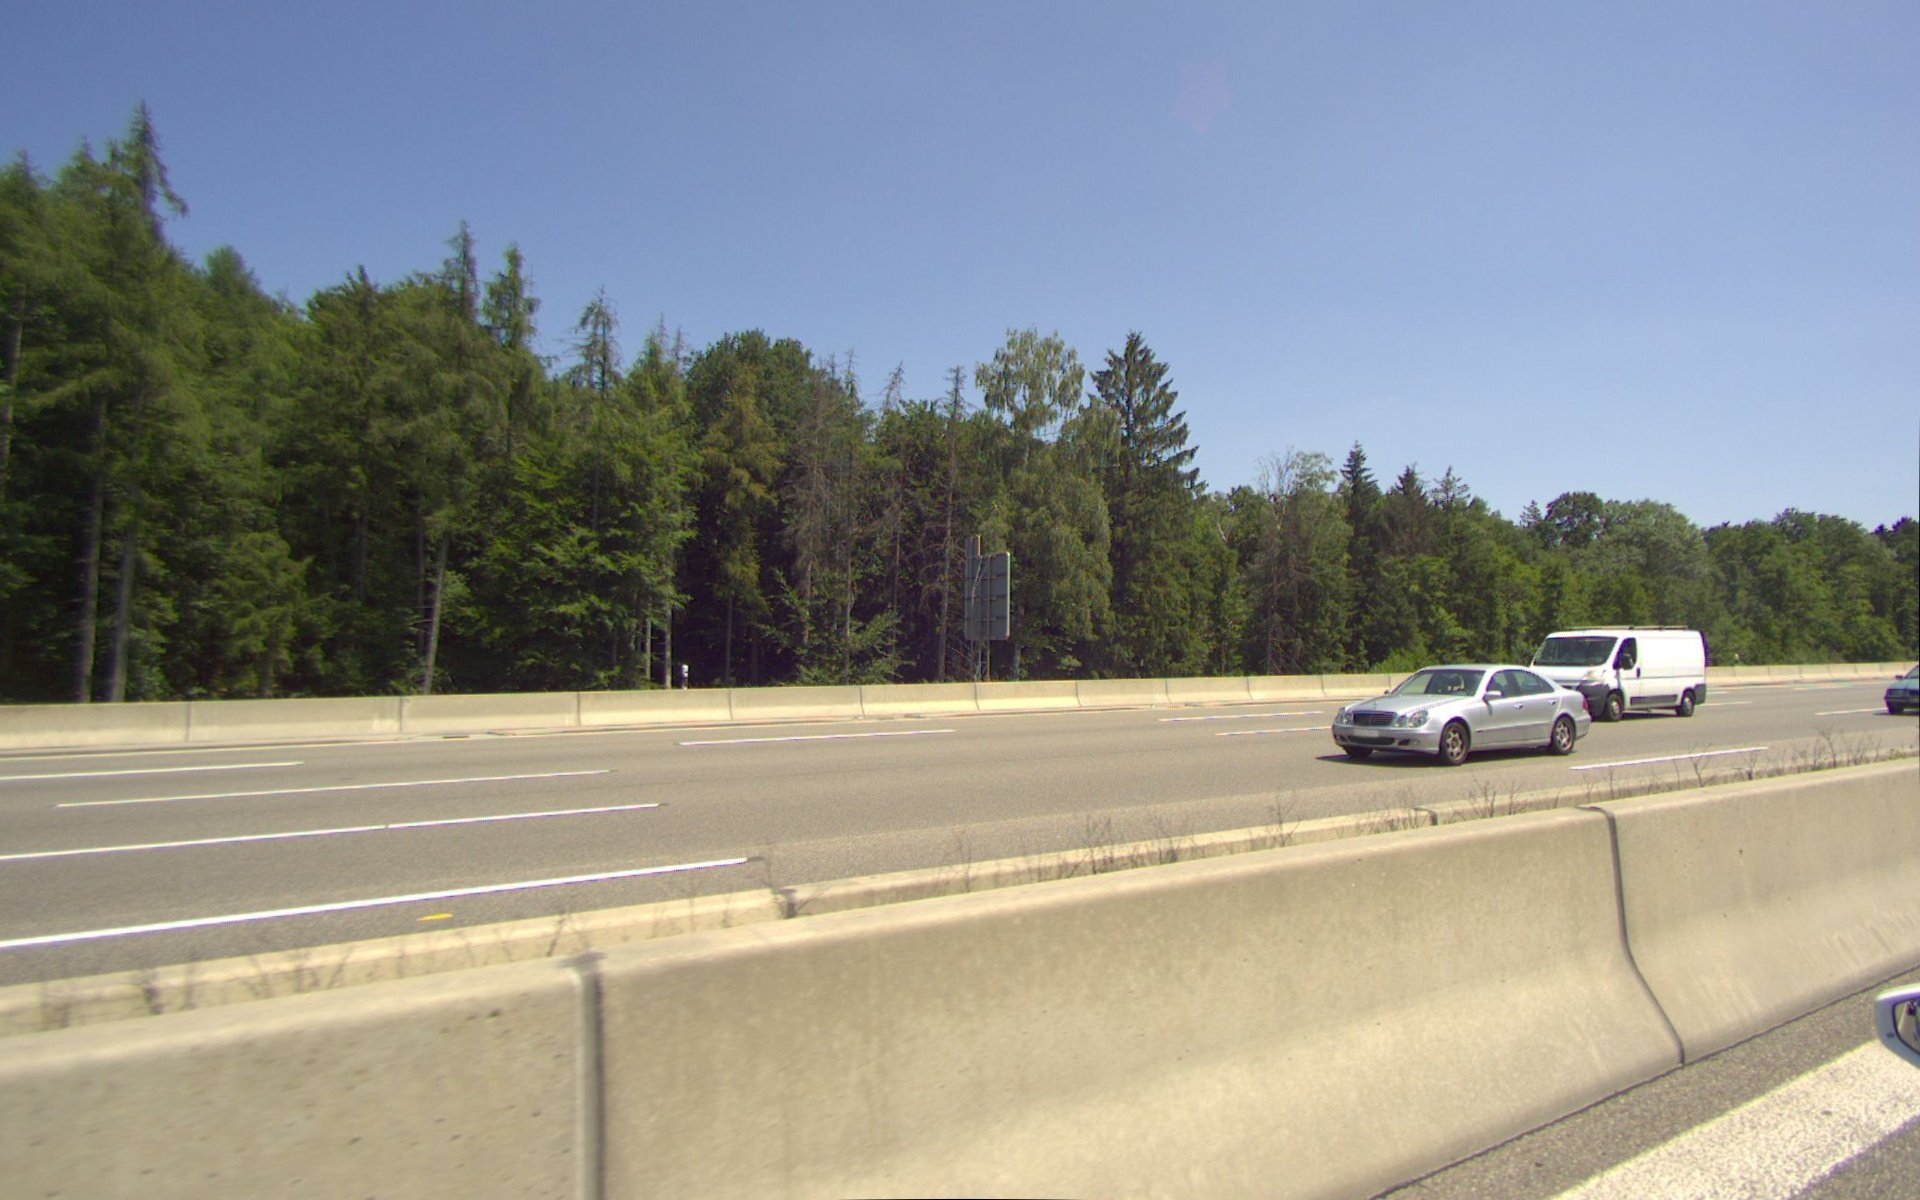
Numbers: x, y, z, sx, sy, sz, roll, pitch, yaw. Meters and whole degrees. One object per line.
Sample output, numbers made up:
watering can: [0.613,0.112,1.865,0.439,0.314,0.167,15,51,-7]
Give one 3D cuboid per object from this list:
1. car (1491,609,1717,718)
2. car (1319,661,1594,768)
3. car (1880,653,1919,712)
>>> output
car: [16.121,1.604,25.000,6.548,2.444,1.922,2,-5,-30]
car: [7.915,1.710,15.908,4.472,1.463,1.671,1,-4,-30]
car: [25.497,2.089,25.874,3.794,1.474,1.542,1,-4,-30]
